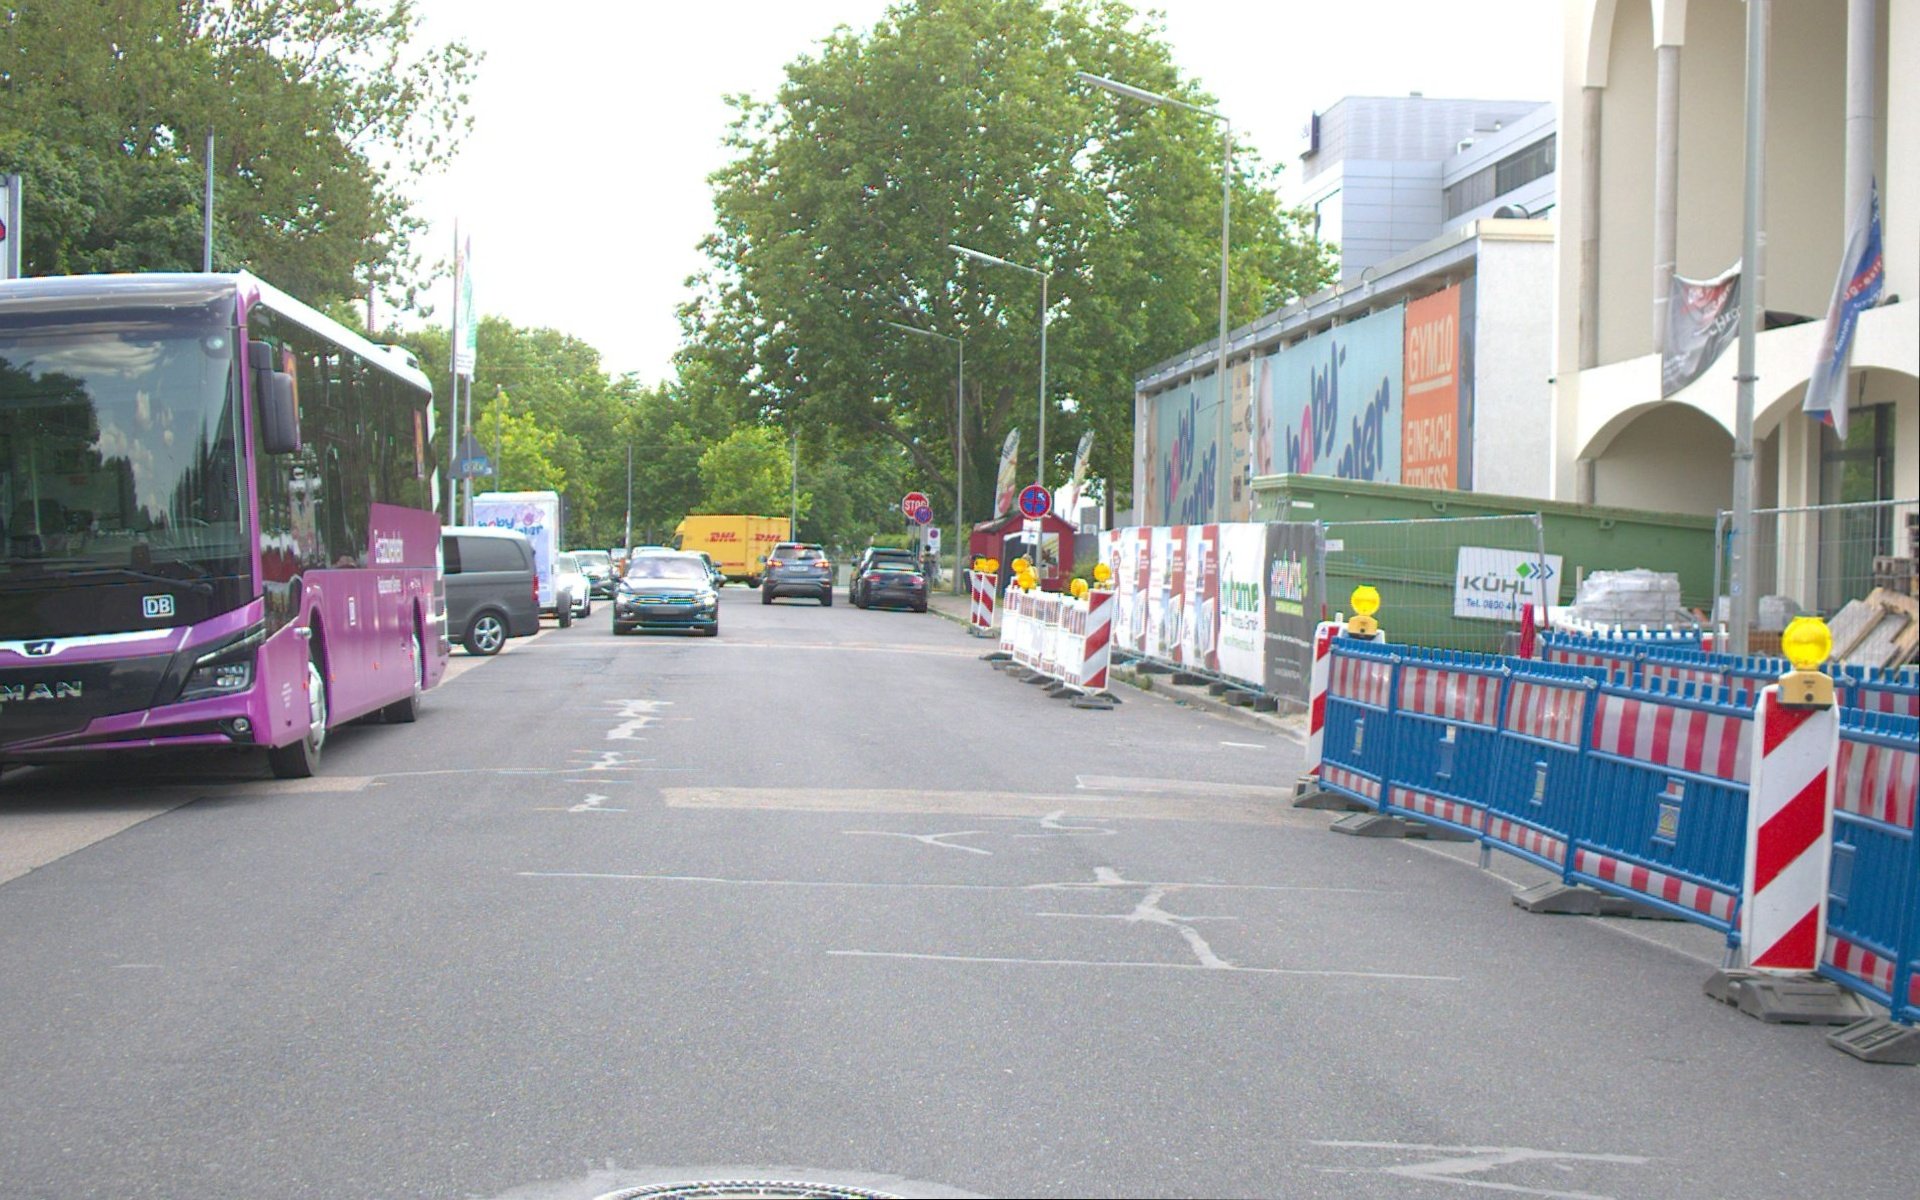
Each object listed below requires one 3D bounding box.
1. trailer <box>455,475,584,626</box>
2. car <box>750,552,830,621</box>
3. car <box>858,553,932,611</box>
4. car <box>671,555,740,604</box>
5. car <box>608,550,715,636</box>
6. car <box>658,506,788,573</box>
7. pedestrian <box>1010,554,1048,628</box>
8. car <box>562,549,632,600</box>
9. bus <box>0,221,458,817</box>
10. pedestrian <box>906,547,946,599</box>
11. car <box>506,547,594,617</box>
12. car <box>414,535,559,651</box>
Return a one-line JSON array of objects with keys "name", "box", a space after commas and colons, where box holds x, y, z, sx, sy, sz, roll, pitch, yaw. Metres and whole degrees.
[{"name": "trailer", "box": [-8.448, -0.954, 66.246, 2.139, 2.773, 4.704, -1, 1, -4]}, {"name": "car", "box": [-4.668, -0.389, 94.102, 1.961, 1.809, 4.276, 1, 1, -5]}, {"name": "car", "box": [-1.777, -0.502, 92.236, 1.808, 1.386, 4.588, 4, 1, -2]}, {"name": "car", "box": [-7.537, -0.628, 102.019, 1.923, 1.372, 4.380, 1, 1, -3]}, {"name": "car", "box": [-5.289, -0.154, 61.296, 1.796, 1.454, 4.385, 0, 1, -4]}, {"name": "car", "box": [-9.500, -2.424, 137.286, 2.199, 2.569, 6.404, 0, 1, -35]}, {"name": "pedestrian", "box": [1.430, -0.188, 71.744, 0.681, 1.528, 1.130, 1, 0, -3]}, {"name": "car", "box": [-10.660, -0.775, 101.126, 1.709, 1.415, 4.331, -1, 1, -2]}, {"name": "bus", "box": [-5.842, -0.549, 26.584, 2.662, 3.411, 13.220, -2, 1, -4]}, {"name": "pedestrian", "box": [-1.216, -0.965, 123.157, 1.000, 1.843, 1.230, 1, 0, -21]}, {"name": "car", "box": [-9.136, -0.420, 76.859, 1.765, 1.474, 4.236, -1, 1, -5]}, {"name": "car", "box": [-7.000, -0.135, 51.170, 1.868, 1.624, 4.128, 1, 1, -4]}]
